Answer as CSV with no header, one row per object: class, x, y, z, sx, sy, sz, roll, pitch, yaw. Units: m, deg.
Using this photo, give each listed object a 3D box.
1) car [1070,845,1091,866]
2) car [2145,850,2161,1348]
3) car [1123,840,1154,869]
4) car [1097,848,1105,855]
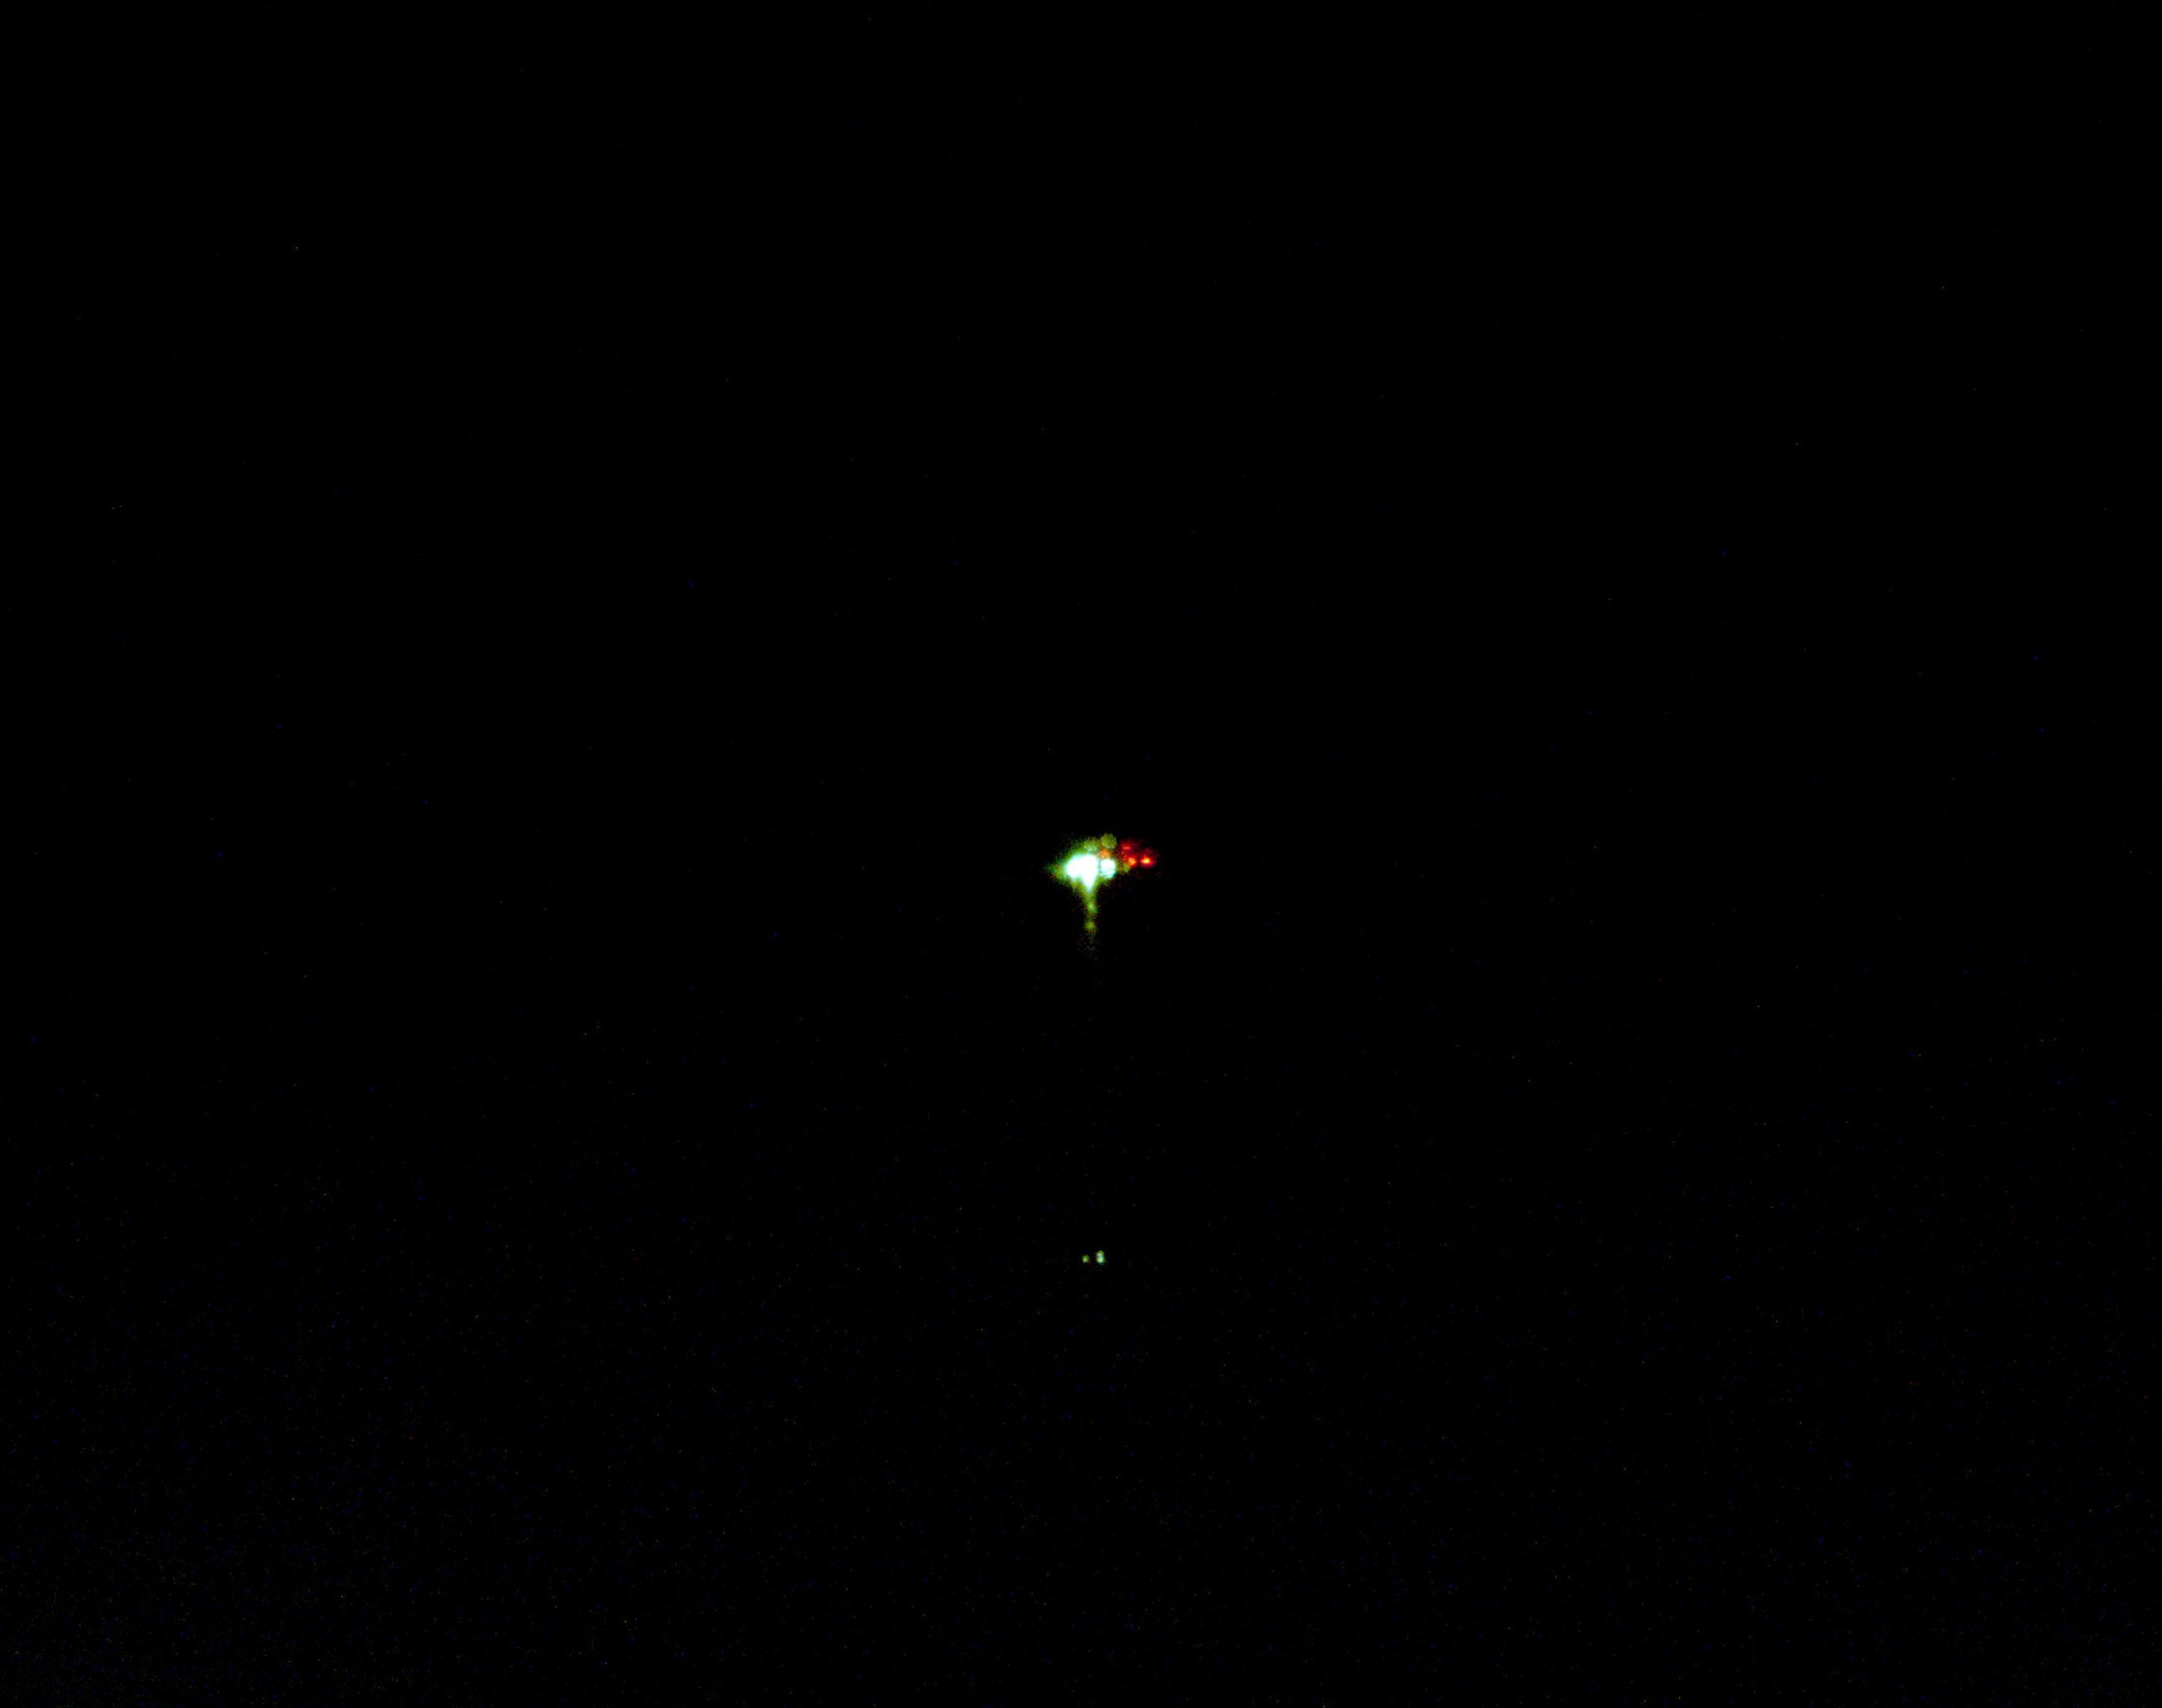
car,-0.006,0.139,75.566,1.998,2.002,3.999,-3,1,1
car,4.286,0.737,0.348,1.998,1.540,3.999,-3,1,0
car,4.350,0.008,57.988,1.998,2.002,3.999,-3,1,1
car,5.636,-0.716,216.045,1.951,1.718,3.999,-3,1,0
